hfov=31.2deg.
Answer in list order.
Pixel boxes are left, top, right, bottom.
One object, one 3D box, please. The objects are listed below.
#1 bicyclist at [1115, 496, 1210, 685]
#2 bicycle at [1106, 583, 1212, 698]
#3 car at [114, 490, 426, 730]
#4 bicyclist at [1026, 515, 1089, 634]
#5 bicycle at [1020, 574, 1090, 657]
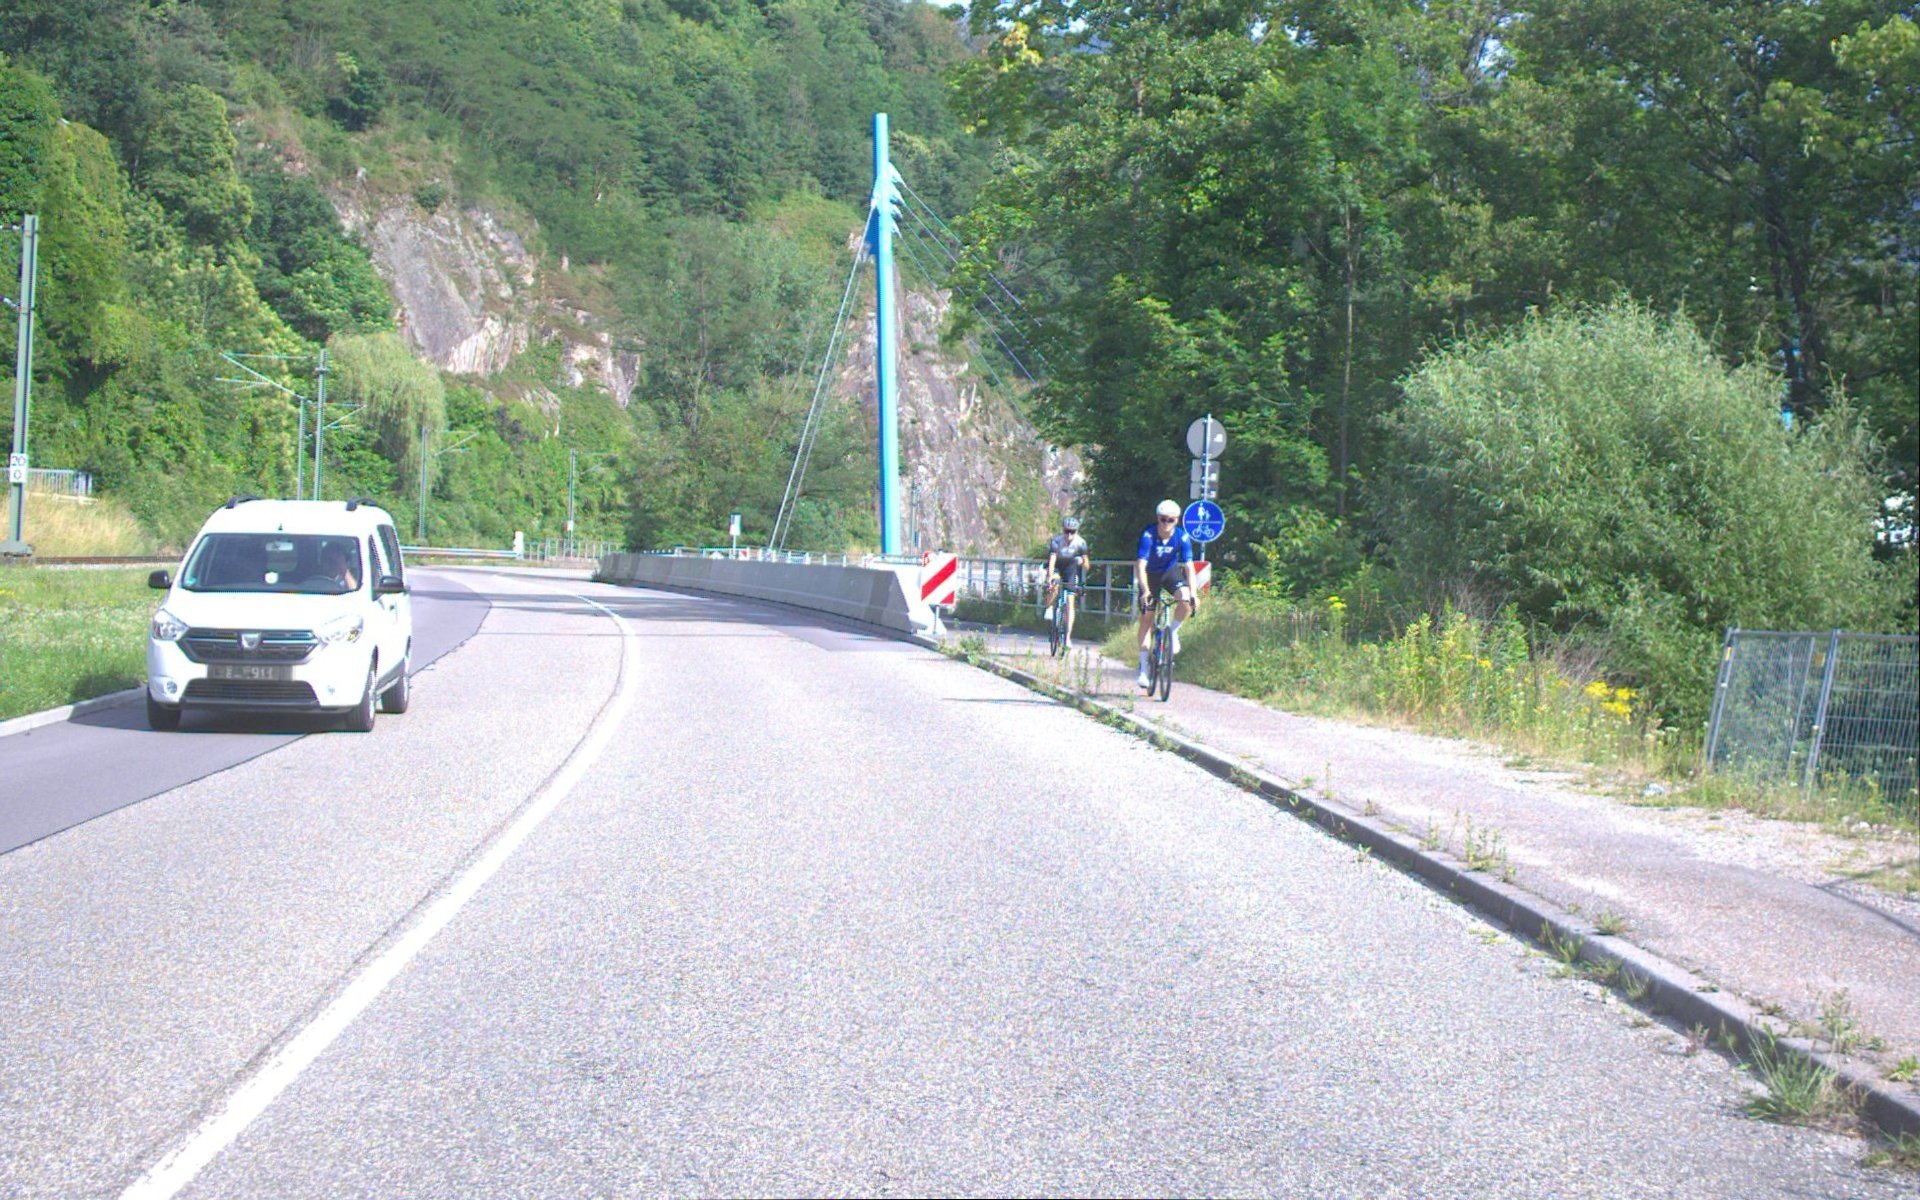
[{"bbox_3d":[1.830,-0.093,31.183,0.641,1.648,0.808,4,1,-5],"label":"bicyclist"},{"bbox_3d":[1.796,0.356,31.203,0.648,0.939,1.848,4,1,-5],"label":"bicycle"},{"bbox_3d":[-5.491,0.023,27.874,1.870,1.775,4.600,0,1,-4],"label":"car"},{"bbox_3d":[1.190,-0.314,41.960,0.592,1.396,0.762,4,1,-5],"label":"bicyclist"},{"bbox_3d":[1.151,0.178,41.989,0.600,0.913,1.848,4,1,-5],"label":"bicycle"}]
